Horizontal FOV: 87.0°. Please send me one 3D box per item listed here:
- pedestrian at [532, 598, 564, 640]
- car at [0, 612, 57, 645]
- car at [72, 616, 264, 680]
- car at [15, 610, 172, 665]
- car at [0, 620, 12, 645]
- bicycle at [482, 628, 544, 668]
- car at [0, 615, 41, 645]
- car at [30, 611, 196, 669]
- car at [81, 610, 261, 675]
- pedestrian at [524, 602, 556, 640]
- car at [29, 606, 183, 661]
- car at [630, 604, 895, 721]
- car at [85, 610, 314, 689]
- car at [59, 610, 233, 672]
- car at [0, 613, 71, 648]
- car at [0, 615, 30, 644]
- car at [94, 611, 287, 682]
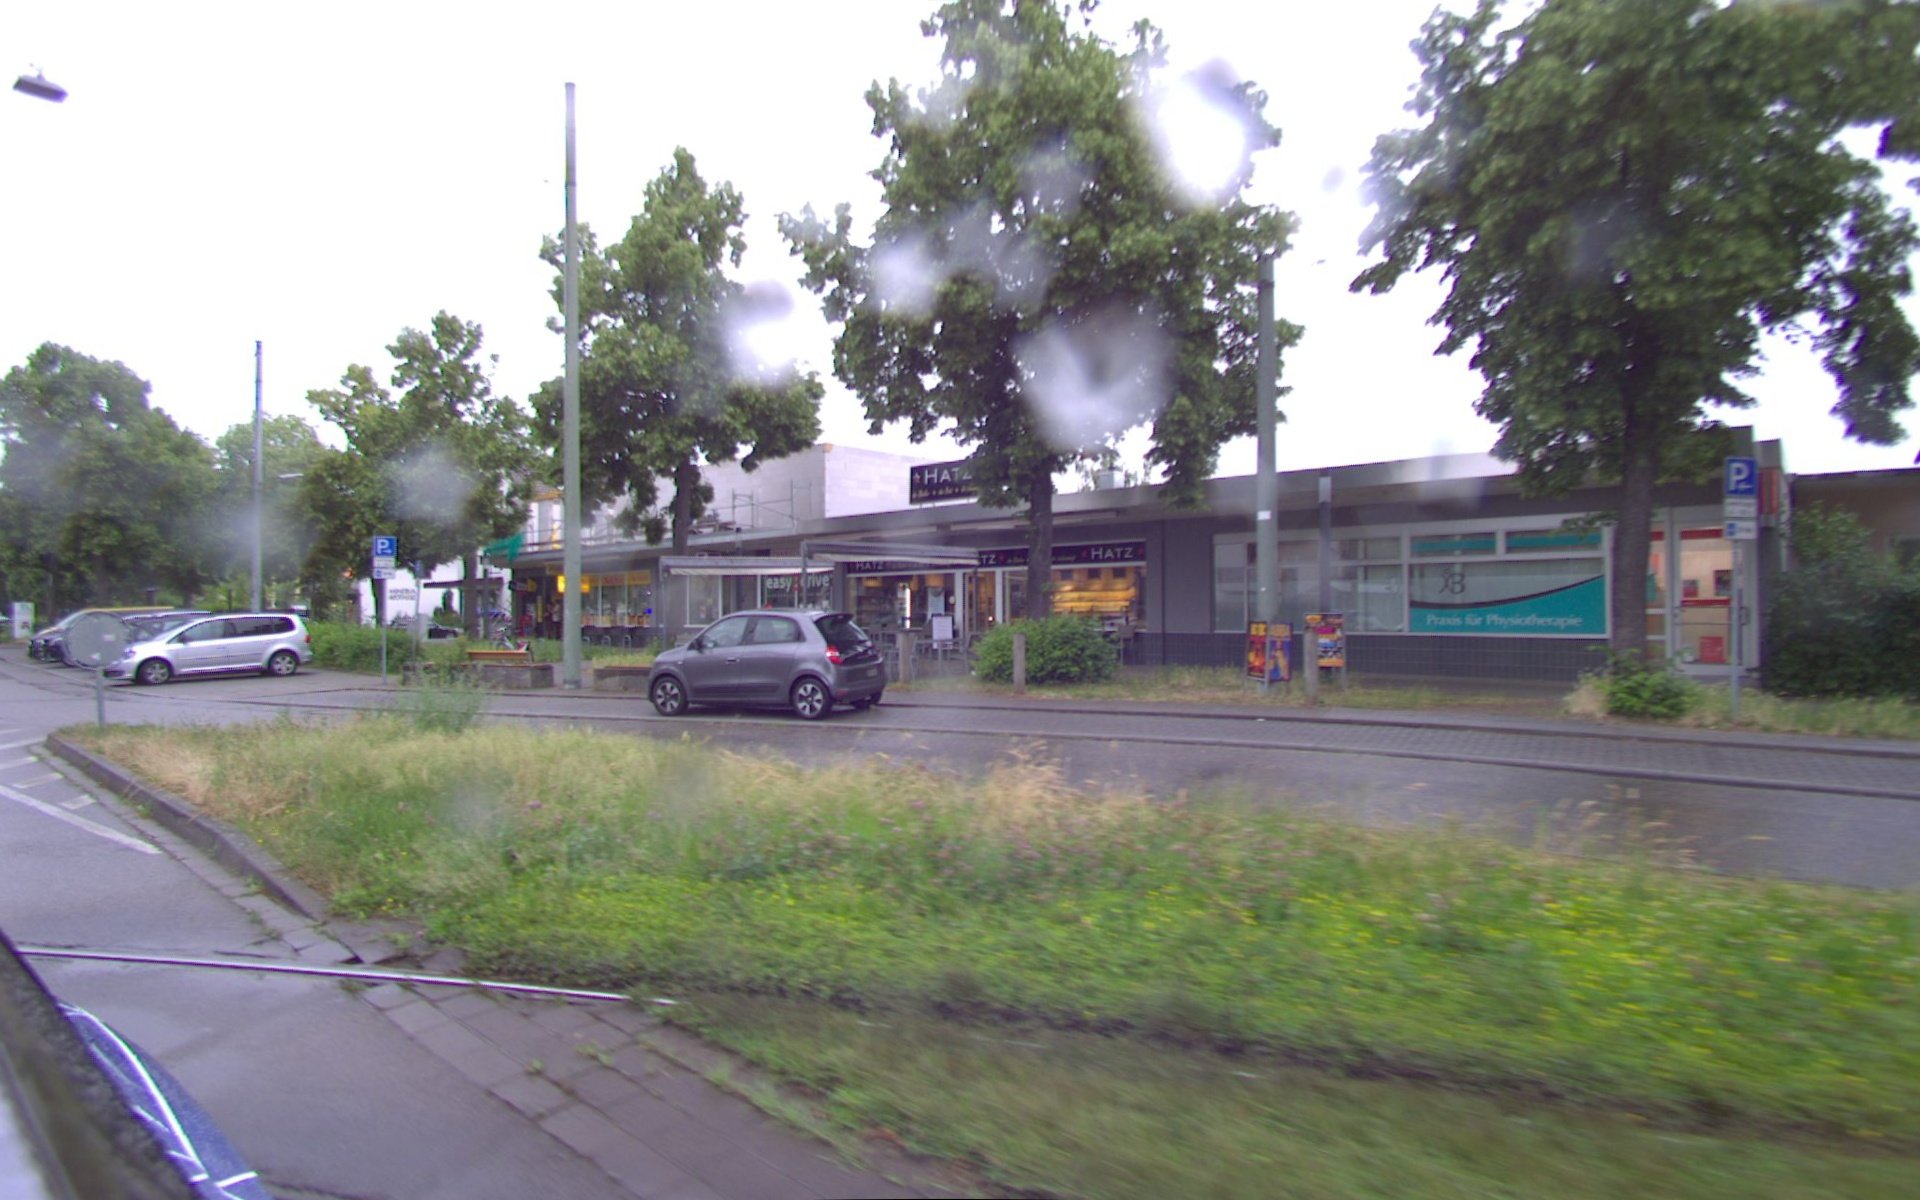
[{"bbox_3d":[-17.233,0.795,42.330,1.063,1.727,0.950,0,-1,-37],"label":"pedestrian"},{"bbox_3d":[-60.723,1.850,64.492,1.898,1.958,4.488,-2,0,40],"label":"car"},{"bbox_3d":[-22.655,1.310,29.059,1.999,1.583,4.036,-2,0,40],"label":"car"},{"bbox_3d":[-32.614,1.372,38.168,1.898,1.823,4.248,-2,0,40],"label":"car"},{"bbox_3d":[-77.122,2.603,78.910,1.898,1.958,4.488,-2,0,40],"label":"car"},{"bbox_3d":[-12.592,1.339,28.498,1.740,1.080,0.589,-1,-2,25],"label":"bicycle"},{"bbox_3d":[-65.442,2.039,68.576,1.898,1.958,4.488,-2,0,40],"label":"car"},{"bbox_3d":[-28.498,1.294,34.150,1.898,1.722,4.036,-2,0,40],"label":"car"},{"bbox_3d":[-24.077,1.247,30.977,1.898,1.722,4.036,-2,0,40],"label":"car"},{"bbox_3d":[-17.947,0.871,43.265,1.063,1.596,0.950,0,-1,-37],"label":"pedestrian"},{"bbox_3d":[-34.417,1.308,40.882,1.898,1.958,4.488,-2,0,40],"label":"car"},{"bbox_3d":[-2.927,0.873,14.940,3.601,1.514,1.539,-1,1,25],"label":"car"},{"bbox_3d":[-19.102,1.176,25.567,1.999,1.686,4.279,-2,0,40],"label":"car"},{"bbox_3d":[-25.910,1.258,32.299,1.898,1.722,4.036,-2,0,40],"label":"car"},{"bbox_3d":[-57.306,1.854,61.682,1.898,1.958,4.488,-2,0,40],"label":"car"},{"bbox_3d":[-67.987,2.095,70.540,1.898,1.958,4.488,-2,0,40],"label":"car"},{"bbox_3d":[-20.874,1.206,27.570,1.792,1.686,3.894,-2,0,40],"label":"car"}]
